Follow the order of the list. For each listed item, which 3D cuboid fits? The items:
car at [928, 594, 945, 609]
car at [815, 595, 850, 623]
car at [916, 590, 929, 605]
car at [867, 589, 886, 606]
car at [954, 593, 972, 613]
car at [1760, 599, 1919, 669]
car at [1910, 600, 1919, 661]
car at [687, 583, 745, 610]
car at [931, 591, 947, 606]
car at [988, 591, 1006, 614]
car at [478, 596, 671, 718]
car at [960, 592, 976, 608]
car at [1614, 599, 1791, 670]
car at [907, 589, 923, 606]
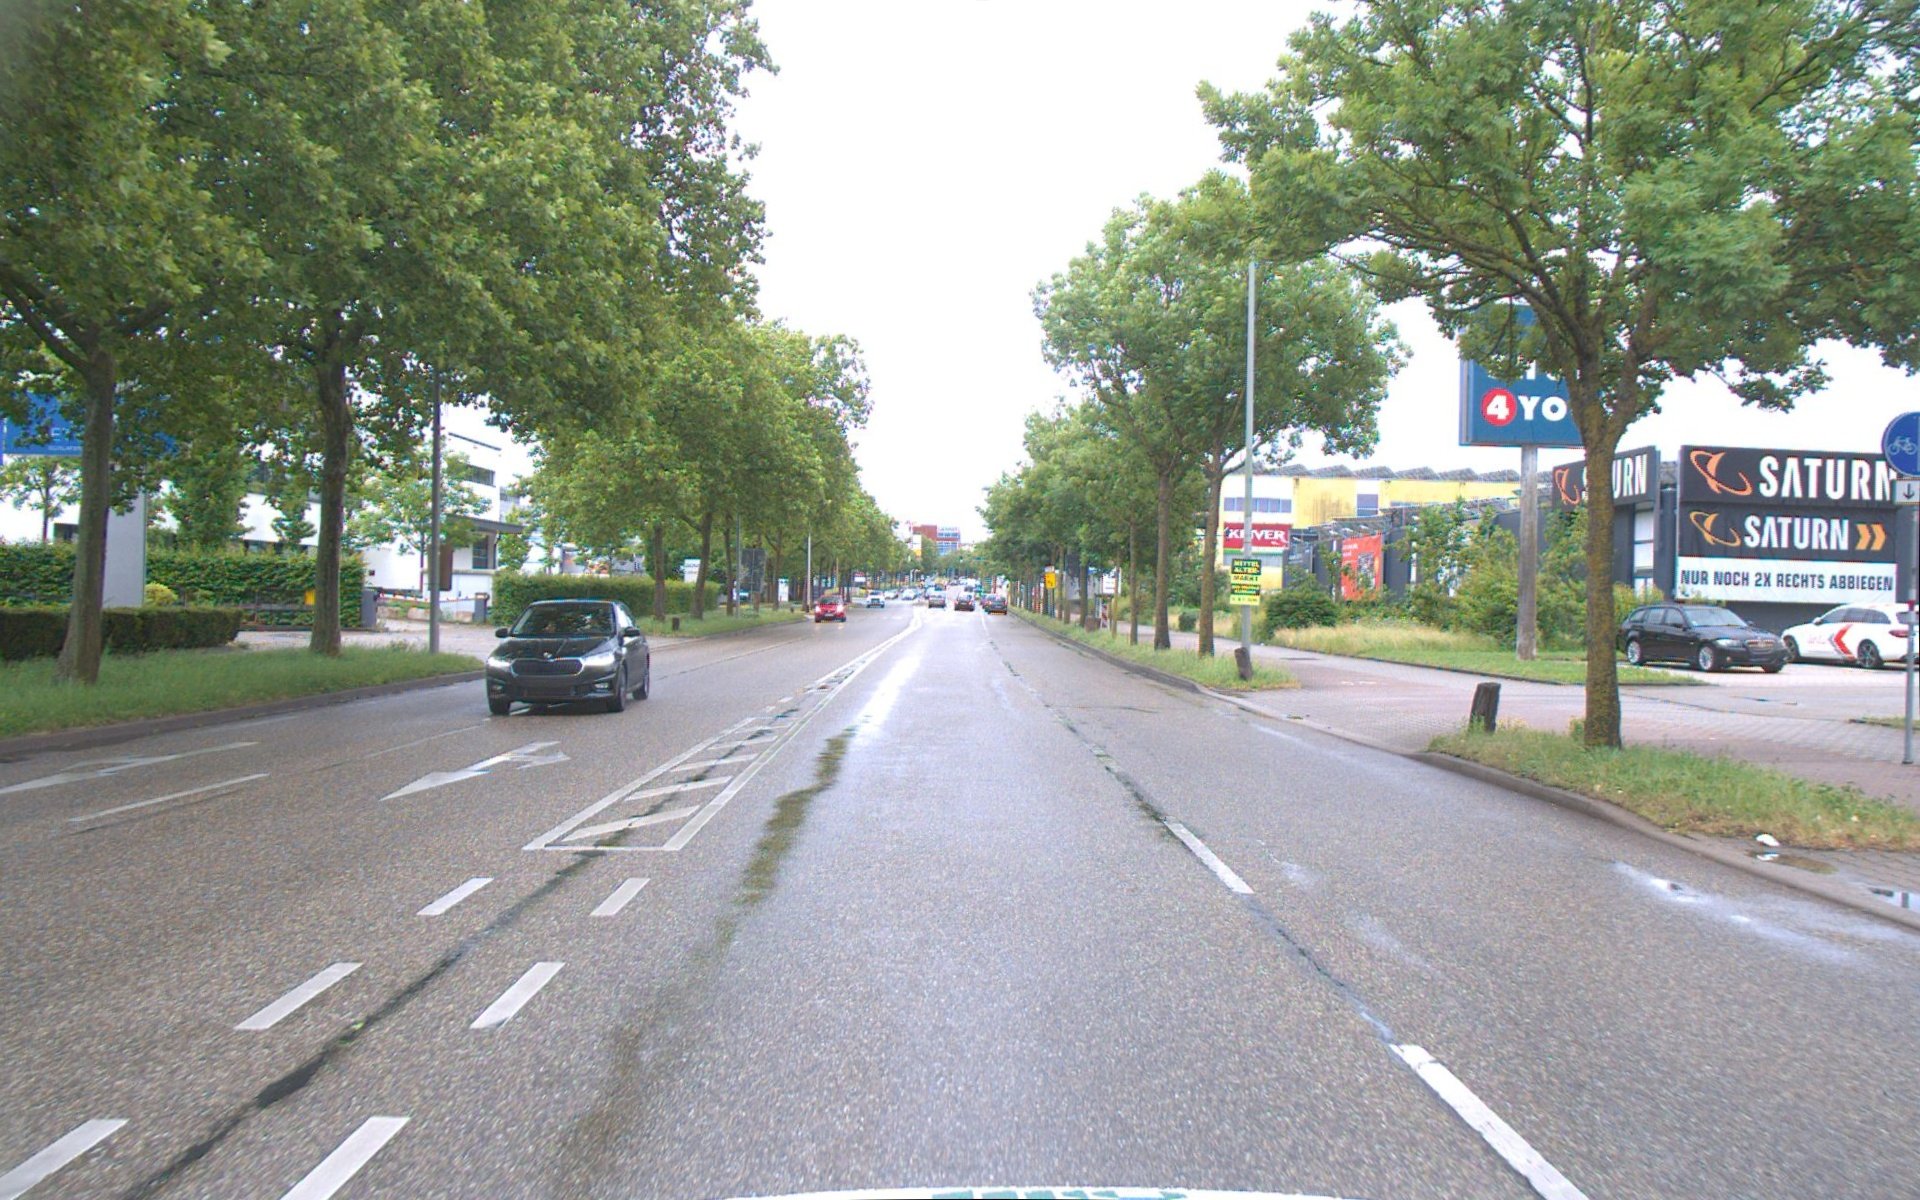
[{"bbox_3d":[-2.692,0.158,190.341,1.709,1.730,4.001,0,0,1],"label":"car"},{"bbox_3d":[-7.240,0.524,93.995,1.690,1.544,3.821,0,0,0],"label":"car"},{"bbox_3d":[-5.299,-0.302,232.254,1.790,2.049,3.998,0,0,-2],"label":"car"},{"bbox_3d":[-9.000,-0.255,177.930,1.669,1.767,4.001,0,0,2],"label":"car"},{"bbox_3d":[0.324,0.315,167.663,1.709,2.049,4.001,0,0,1],"label":"car"},{"bbox_3d":[21.351,0.755,39.176,1.846,1.494,4.942,0,1,-9],"label":"car"},{"bbox_3d":[24.156,0.748,38.606,1.551,1.466,3.580,0,0,-9],"label":"car"},{"bbox_3d":[-17.703,-0.260,120.126,3.905,1.958,1.826,0,-1,0],"label":"car"},{"bbox_3d":[-2.617,-0.163,205.107,1.852,1.909,4.123,0,0,0],"label":"car"},{"bbox_3d":[3.407,0.245,151.986,1.709,2.049,4.001,0,0,1],"label":"car"},{"bbox_3d":[-5.105,0.704,22.378,1.767,1.488,3.845,-1,0,-1],"label":"car"},{"bbox_3d":[0.878,0.018,181.147,1.709,1.767,4.001,0,0,1],"label":"car"},{"bbox_3d":[16.562,0.731,37.125,1.548,1.453,4.257,0,1,-9],"label":"car"},{"bbox_3d":[-5.552,-0.301,203.584,1.953,2.049,3.999,0,0,-1],"label":"car"}]
